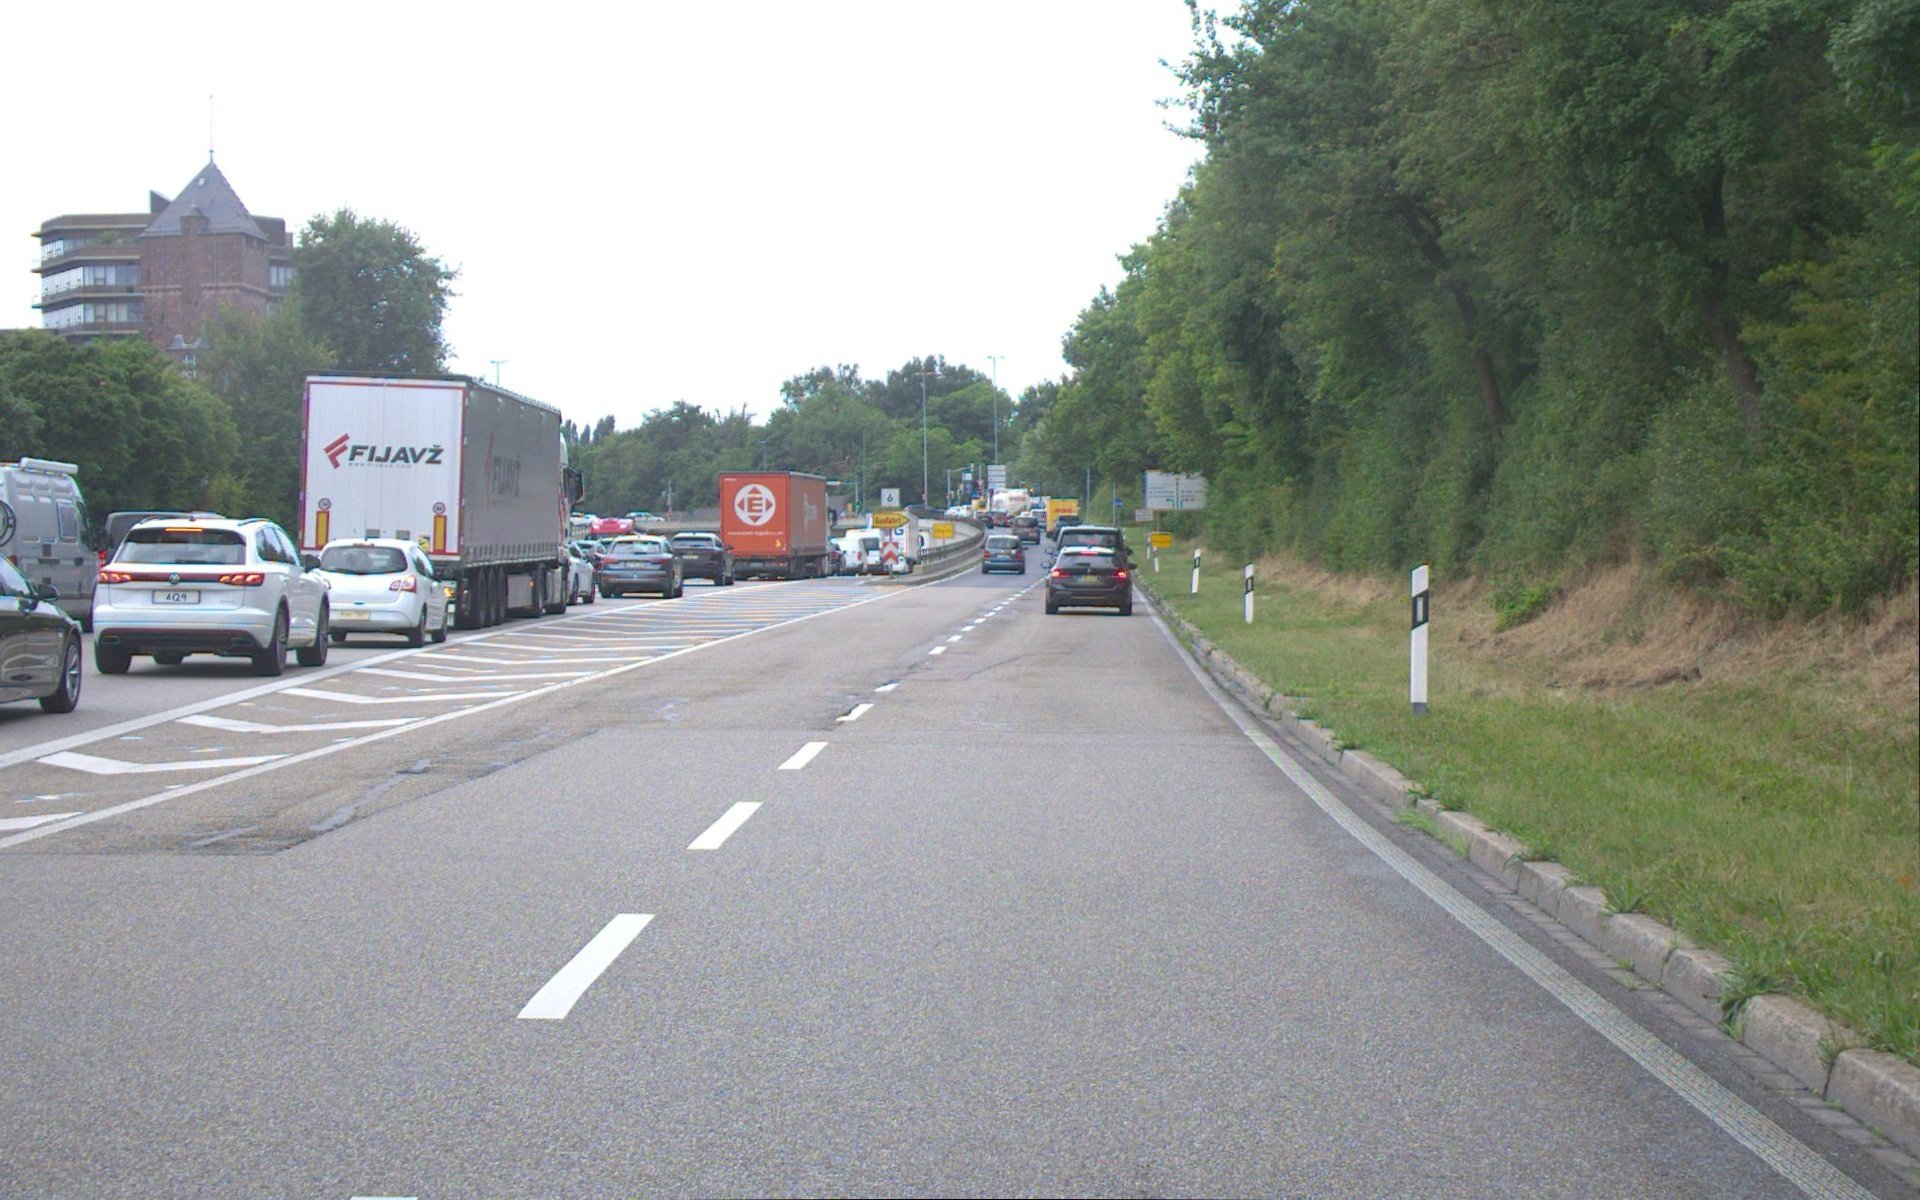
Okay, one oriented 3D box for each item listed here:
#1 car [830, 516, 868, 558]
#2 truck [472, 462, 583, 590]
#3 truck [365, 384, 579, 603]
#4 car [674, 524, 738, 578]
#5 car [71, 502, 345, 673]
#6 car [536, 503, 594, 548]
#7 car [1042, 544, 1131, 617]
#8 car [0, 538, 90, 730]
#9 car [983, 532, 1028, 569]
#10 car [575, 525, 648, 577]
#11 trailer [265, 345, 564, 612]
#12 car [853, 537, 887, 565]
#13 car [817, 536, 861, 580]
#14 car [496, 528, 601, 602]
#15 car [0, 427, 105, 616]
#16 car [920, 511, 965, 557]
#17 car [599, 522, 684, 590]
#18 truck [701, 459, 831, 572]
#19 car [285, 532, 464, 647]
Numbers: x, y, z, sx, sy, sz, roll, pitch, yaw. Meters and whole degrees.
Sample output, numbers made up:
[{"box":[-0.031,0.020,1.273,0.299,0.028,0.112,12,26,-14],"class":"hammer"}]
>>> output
[{"box":[-5.376,-3.053,167.066,1.614,1.941,3.705,1,0,2],"class":"car"},{"box":[-14.692,-2.462,117.479,2.738,4.124,10.698,1,0,-2],"class":"truck"},{"box":[-9.290,-1.976,66.244,3.198,3.933,7.074,1,0,-1],"class":"truck"},{"box":[-8.185,-1.554,110.948,1.717,1.678,4.000,1,0,1],"class":"car"},{"box":[-8.251,-0.148,38.163,1.956,1.689,4.866,3,0,-1],"class":"car"},{"box":[-17.534,-3.302,152.815,1.993,2.007,4.000,0,1,2],"class":"car"},{"box":[2.662,-0.433,72.996,1.825,1.477,4.000,0,1,1],"class":"car"},{"box":[-8.252,0.234,26.994,1.847,1.455,4.832,1,0,-3],"class":"car"},{"box":[1.912,-2.073,143.453,1.825,1.477,4.000,0,1,1],"class":"car"},{"box":[-11.440,-1.596,113.007,1.859,1.612,4.000,1,0,1],"class":"car"},{"box":[-9.139,-1.919,59.375,3.298,4.022,13.099,1,0,-1],"class":"trailer"},{"box":[-4.822,-2.619,183.064,1.777,1.477,4.000,0,1,-2],"class":"car"},{"box":[-5.487,-1.905,156.331,1.614,1.941,3.704,1,0,4],"class":"car"},{"box":[-9.330,-0.785,78.160,1.800,1.598,4.258,1,0,1],"class":"car"},{"box":[-13.819,-1.104,48.954,1.993,2.545,5.362,0,1,-1],"class":"car"},{"box":[-0.775,-2.933,152.798,1.951,2.007,4.000,0,1,0],"class":"car"},{"box":[-8.092,-1.110,87.487,1.717,1.678,4.000,1,0,1],"class":"car"},{"box":[-7.272,-3.193,131.177,3.490,4.059,13.591,0,1,3],"class":"truck"},{"box":[-8.092,-0.168,47.812,1.764,1.473,4.089,2,1,0],"class":"car"}]
